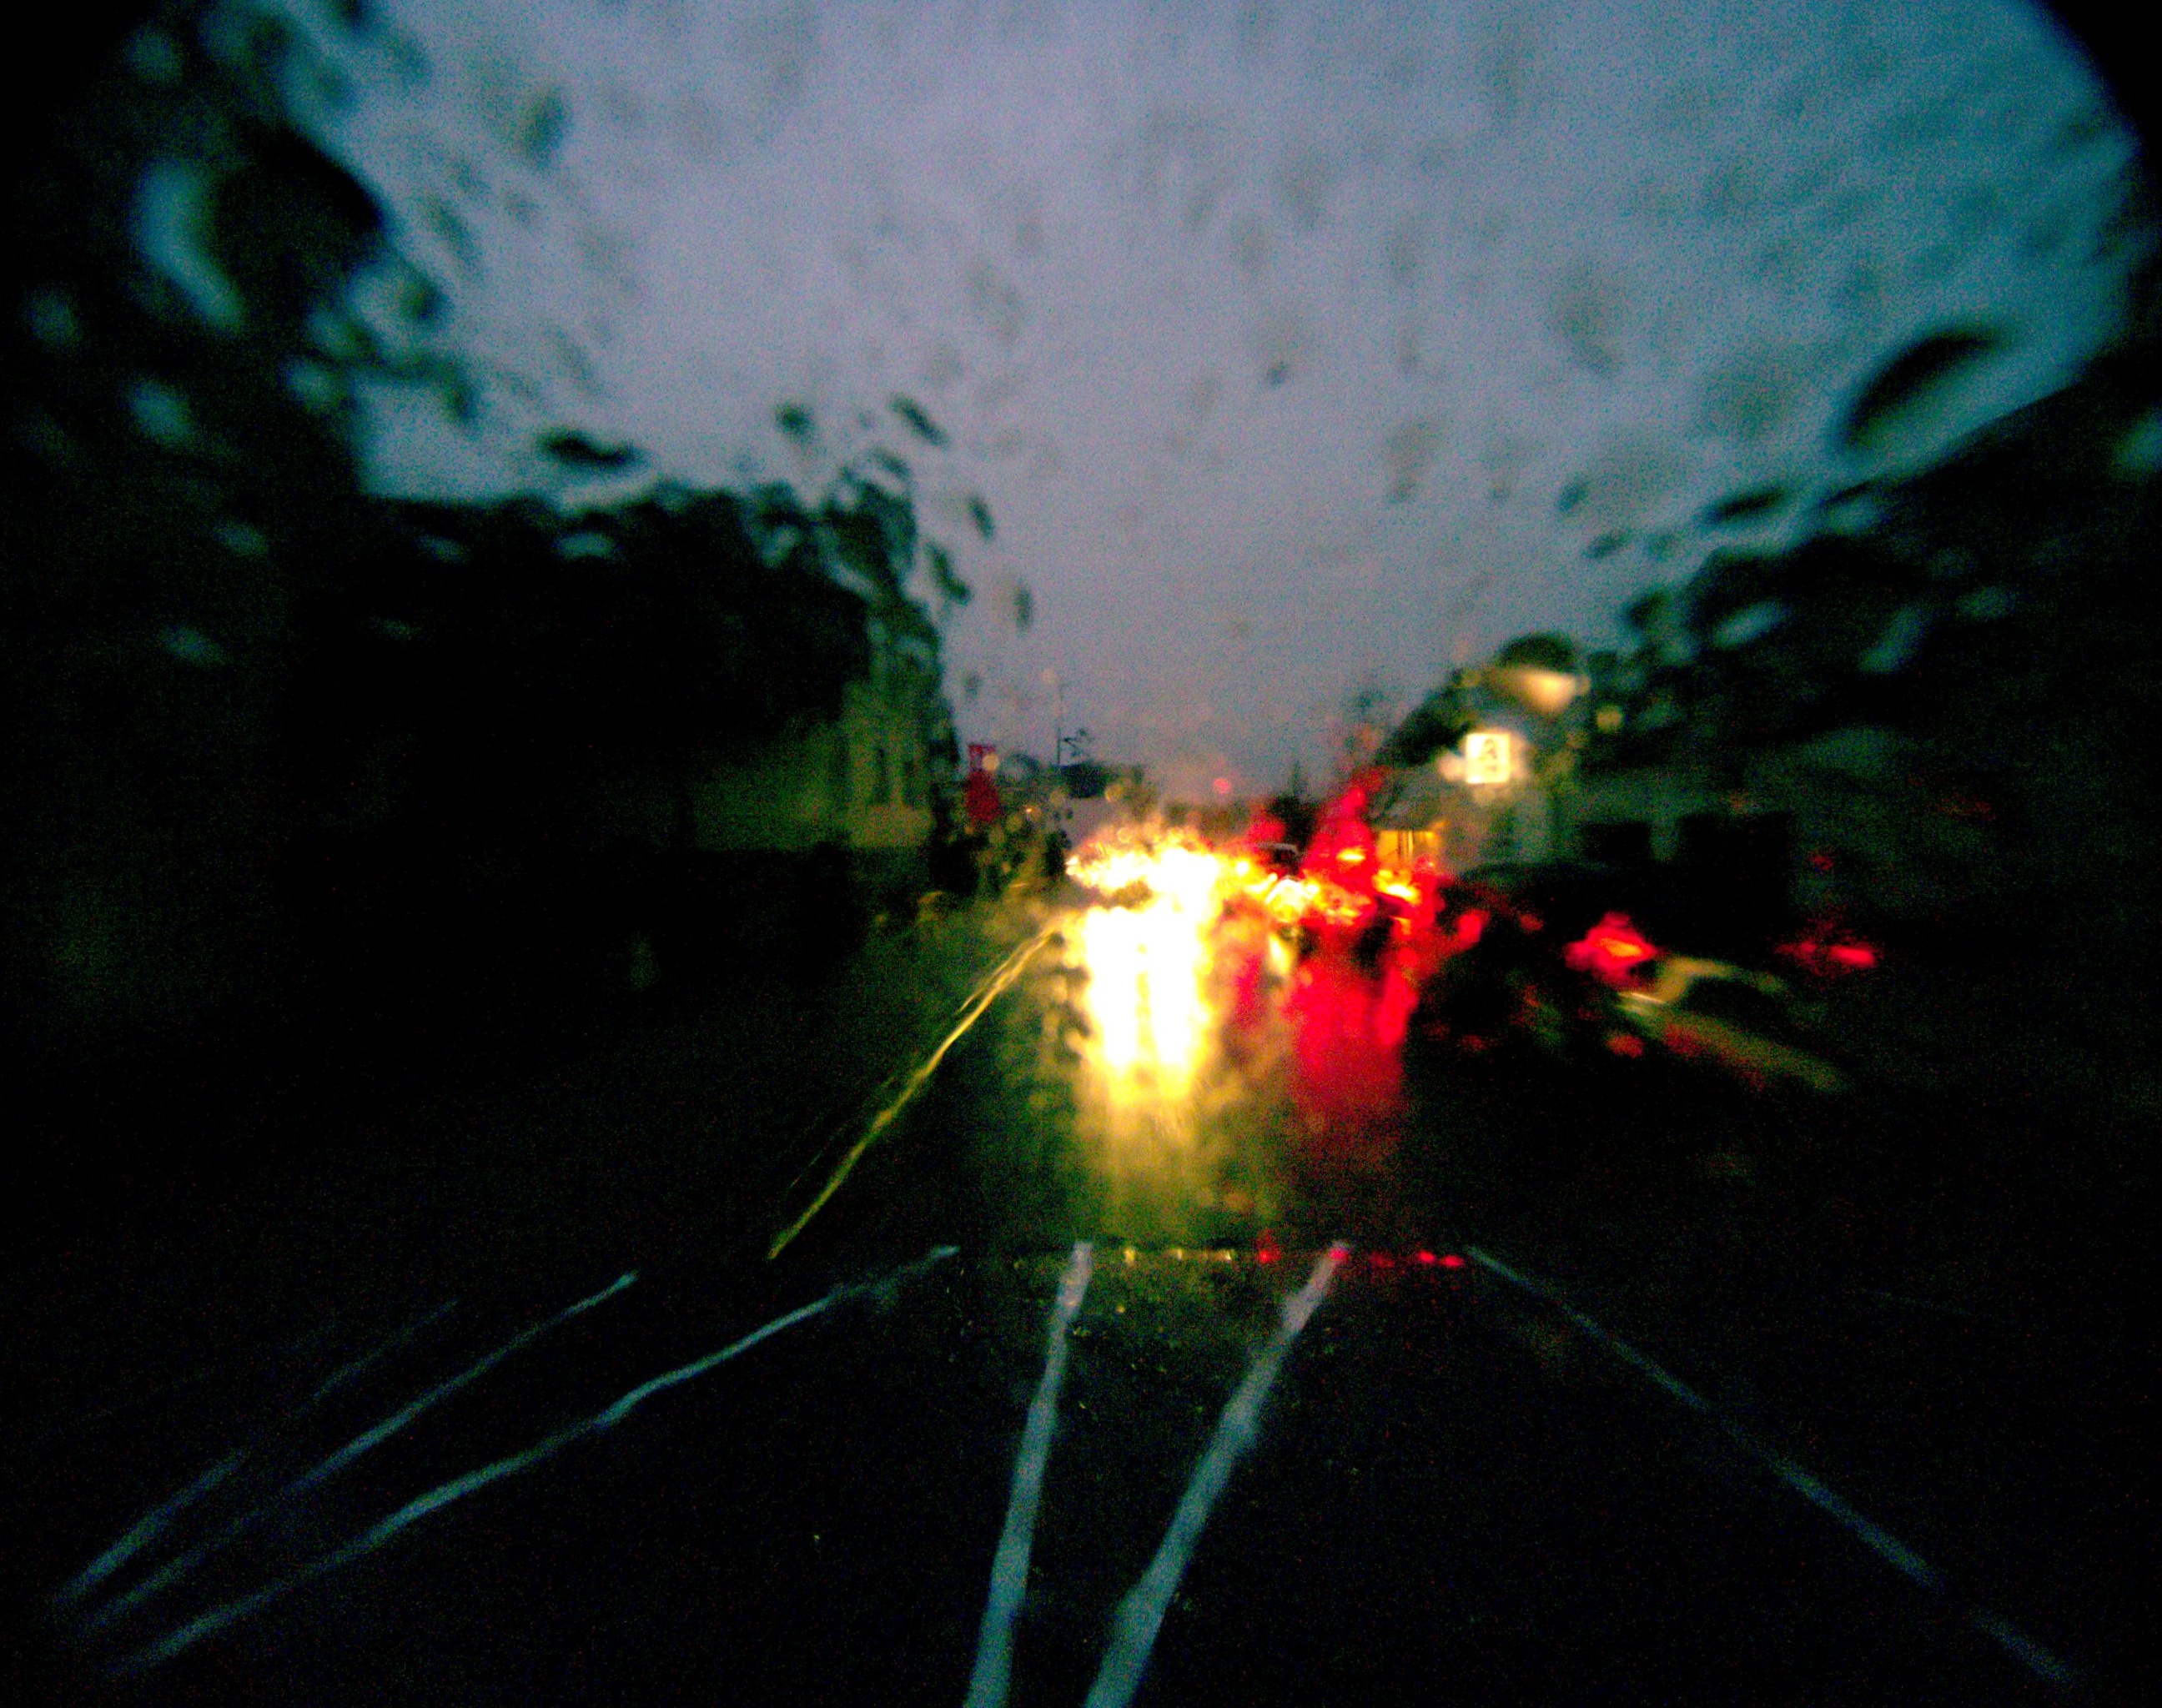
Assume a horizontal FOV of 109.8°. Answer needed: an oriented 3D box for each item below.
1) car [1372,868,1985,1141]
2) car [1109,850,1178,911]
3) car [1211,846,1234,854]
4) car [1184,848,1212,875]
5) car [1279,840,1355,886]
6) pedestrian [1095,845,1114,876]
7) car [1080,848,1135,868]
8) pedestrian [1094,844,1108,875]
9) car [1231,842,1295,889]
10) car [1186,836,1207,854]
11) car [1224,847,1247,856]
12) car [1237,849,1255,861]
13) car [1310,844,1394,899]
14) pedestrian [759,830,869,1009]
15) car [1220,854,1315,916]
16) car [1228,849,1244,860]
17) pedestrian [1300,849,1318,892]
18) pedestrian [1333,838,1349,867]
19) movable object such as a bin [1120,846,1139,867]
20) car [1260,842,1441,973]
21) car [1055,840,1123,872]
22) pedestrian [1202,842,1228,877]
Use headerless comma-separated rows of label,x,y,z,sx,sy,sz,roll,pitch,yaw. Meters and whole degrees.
car,4.219,0.905,6.483,1.998,1.546,4.259,0,-1,3
car,2.079,0.768,24.418,1.997,1.720,4.002,-2,1,7
car,25.335,-0.641,135.908,3.993,1.291,2.002,-2,1,12
car,9.187,0.548,59.854,1.997,2.002,4.001,-2,1,6
car,10.014,0.352,32.622,2.090,1.781,5.026,-1,0,5
pedestrian,1.296,0.355,41.804,0.837,1.695,0.846,1,2,21
car,2.101,0.297,59.312,3.993,1.478,1.914,0,2,12
pedestrian,1.142,0.316,42.768,0.705,1.695,0.915,1,1,6
car,7.361,0.483,31.253,1.997,1.695,4.970,-3,-1,8
car,12.176,-0.933,80.167,1.997,1.844,4.002,-2,1,7
car,26.457,-0.431,130.140,3.837,1.537,2.002,-2,1,15
car,20.141,0.108,92.717,1.697,1.423,4.379,-2,0,7
car,9.312,0.519,26.467,1.884,1.700,4.715,-2,1,9
pedestrian,-2.694,0.635,7.748,0.746,1.719,0.873,0,0,6
car,5.137,0.867,21.483,1.955,1.537,4.419,1,-2,5
car,21.526,0.040,105.605,1.839,1.526,4.141,-2,1,7
pedestrian,8.393,0.602,27.949,0.529,1.576,0.576,0,0,7
pedestrian,15.450,-0.085,45.162,0.827,1.649,1.098,-2,1,15
movable object such as a bin,3.948,0.193,61.550,1.395,1.634,1.262,2,1,7
car,4.768,0.811,14.197,1.861,1.547,4.258,17,3,5
car,0.550,0.100,51.388,4.095,2.038,2.003,2,1,18
pedestrian,7.371,0.304,41.879,0.944,1.865,1.010,-2,1,-38
